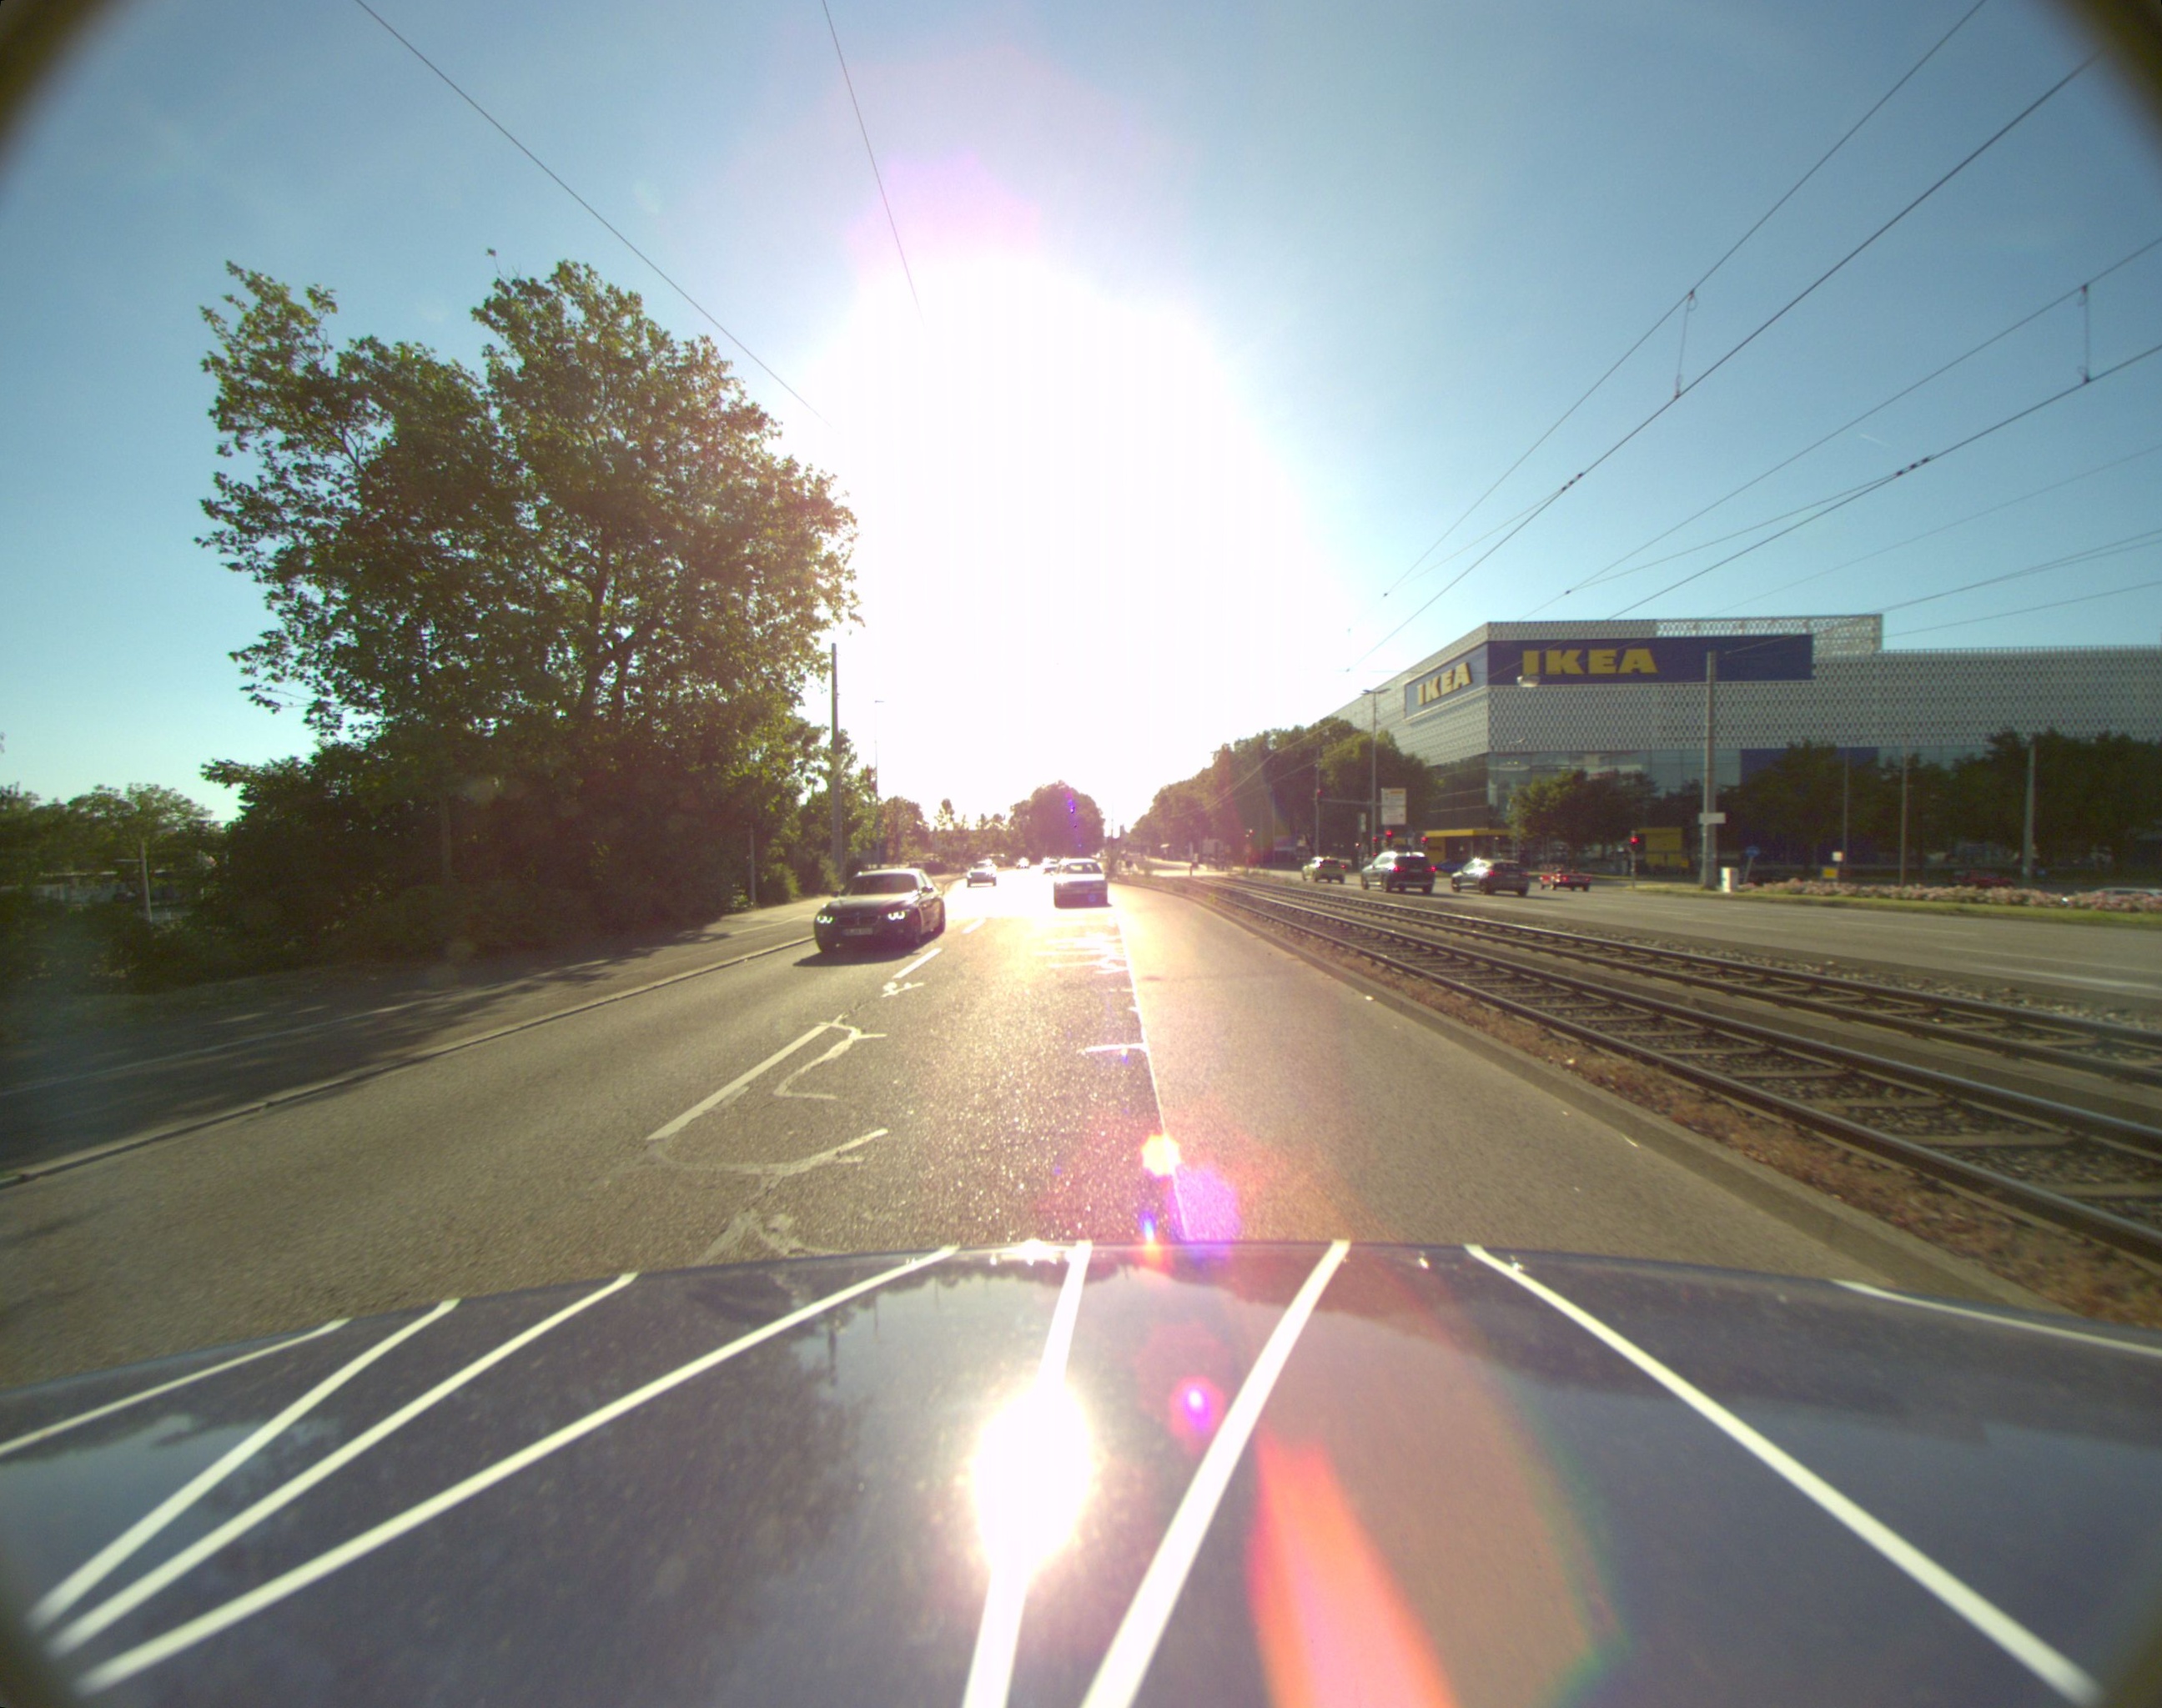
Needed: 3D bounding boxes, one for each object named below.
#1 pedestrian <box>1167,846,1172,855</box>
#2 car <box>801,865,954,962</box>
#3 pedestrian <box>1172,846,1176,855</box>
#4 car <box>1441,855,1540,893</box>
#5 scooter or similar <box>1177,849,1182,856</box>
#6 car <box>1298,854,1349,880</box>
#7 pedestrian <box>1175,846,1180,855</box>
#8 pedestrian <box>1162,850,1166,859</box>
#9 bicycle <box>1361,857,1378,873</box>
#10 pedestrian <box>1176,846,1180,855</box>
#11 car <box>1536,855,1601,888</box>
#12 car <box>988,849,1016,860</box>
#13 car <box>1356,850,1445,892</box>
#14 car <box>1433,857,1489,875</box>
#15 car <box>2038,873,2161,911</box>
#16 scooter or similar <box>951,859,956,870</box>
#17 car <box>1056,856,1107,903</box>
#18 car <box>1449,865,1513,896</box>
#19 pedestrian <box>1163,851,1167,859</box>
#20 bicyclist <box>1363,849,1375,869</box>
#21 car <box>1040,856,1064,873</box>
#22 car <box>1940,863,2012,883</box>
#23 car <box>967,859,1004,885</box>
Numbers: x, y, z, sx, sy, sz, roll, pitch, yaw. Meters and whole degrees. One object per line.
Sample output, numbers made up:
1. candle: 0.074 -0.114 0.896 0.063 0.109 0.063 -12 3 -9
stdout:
1. pedestrian: 16.437 -0.635 141.029 0.654 1.732 0.685 -3 1 5
2. car: -3.863 1.059 15.328 1.871 1.459 4.585 -2 1 -1
3. pedestrian: 17.012 -0.630 139.067 0.733 1.682 0.687 -3 1 1
4. car: 16.890 0.780 31.569 1.861 1.452 4.137 -1 0 0
5. scooter or similar: 17.133 -0.271 131.779 0.665 1.227 1.372 -1 1 1
6. car: 14.209 0.738 44.718 1.787 1.439 4.108 1 0 2
7. pedestrian: 17.238 -0.573 135.794 0.652 1.611 0.635 -2 1 6
8. pedestrian: 16.599 0.048 151.443 0.763 1.700 0.678 0 1 3
9. bicycle: 21.856 0.829 57.572 0.589 1.161 1.992 -1 0 3
10. pedestrian: 17.179 -0.559 134.470 0.603 1.611 0.691 -2 1 6
11. car: 26.079 0.898 40.772 1.823 1.633 4.005 1 0 16
12. car: -16.211 0.055 155.696 5.350 2.010 2.104 -3 0 0
13. car: 13.534 0.671 32.520 1.998 1.646 4.659 1 1 2
14. car: 35.507 1.122 71.120 4.252 1.489 2.016 2 2 7
15. car: 55.114 1.968 40.679 1.999 1.700 4.416 -3 0 -3
16. scooter or similar: -14.139 1.131 84.372 0.525 1.224 1.265 -1 1 -11
17. car: 0.070 0.850 26.836 1.602 1.440 3.799 -2 0 2
18. car: 22.206 1.442 42.339 1.938 1.468 4.134 2 1 10
19. pedestrian: 16.234 0.209 146.744 0.661 1.623 0.777 -3 1 3
20. bicyclist: 21.837 0.395 57.663 0.589 1.514 0.751 -1 1 2
21. car: -2.770 0.988 74.061 1.871 1.422 3.831 -3 0 4
22. car: 71.637 1.504 60.862 3.583 1.452 1.771 2 2 0
23. car: -5.759 1.051 46.252 1.857 1.415 3.979 -2 0 -2
